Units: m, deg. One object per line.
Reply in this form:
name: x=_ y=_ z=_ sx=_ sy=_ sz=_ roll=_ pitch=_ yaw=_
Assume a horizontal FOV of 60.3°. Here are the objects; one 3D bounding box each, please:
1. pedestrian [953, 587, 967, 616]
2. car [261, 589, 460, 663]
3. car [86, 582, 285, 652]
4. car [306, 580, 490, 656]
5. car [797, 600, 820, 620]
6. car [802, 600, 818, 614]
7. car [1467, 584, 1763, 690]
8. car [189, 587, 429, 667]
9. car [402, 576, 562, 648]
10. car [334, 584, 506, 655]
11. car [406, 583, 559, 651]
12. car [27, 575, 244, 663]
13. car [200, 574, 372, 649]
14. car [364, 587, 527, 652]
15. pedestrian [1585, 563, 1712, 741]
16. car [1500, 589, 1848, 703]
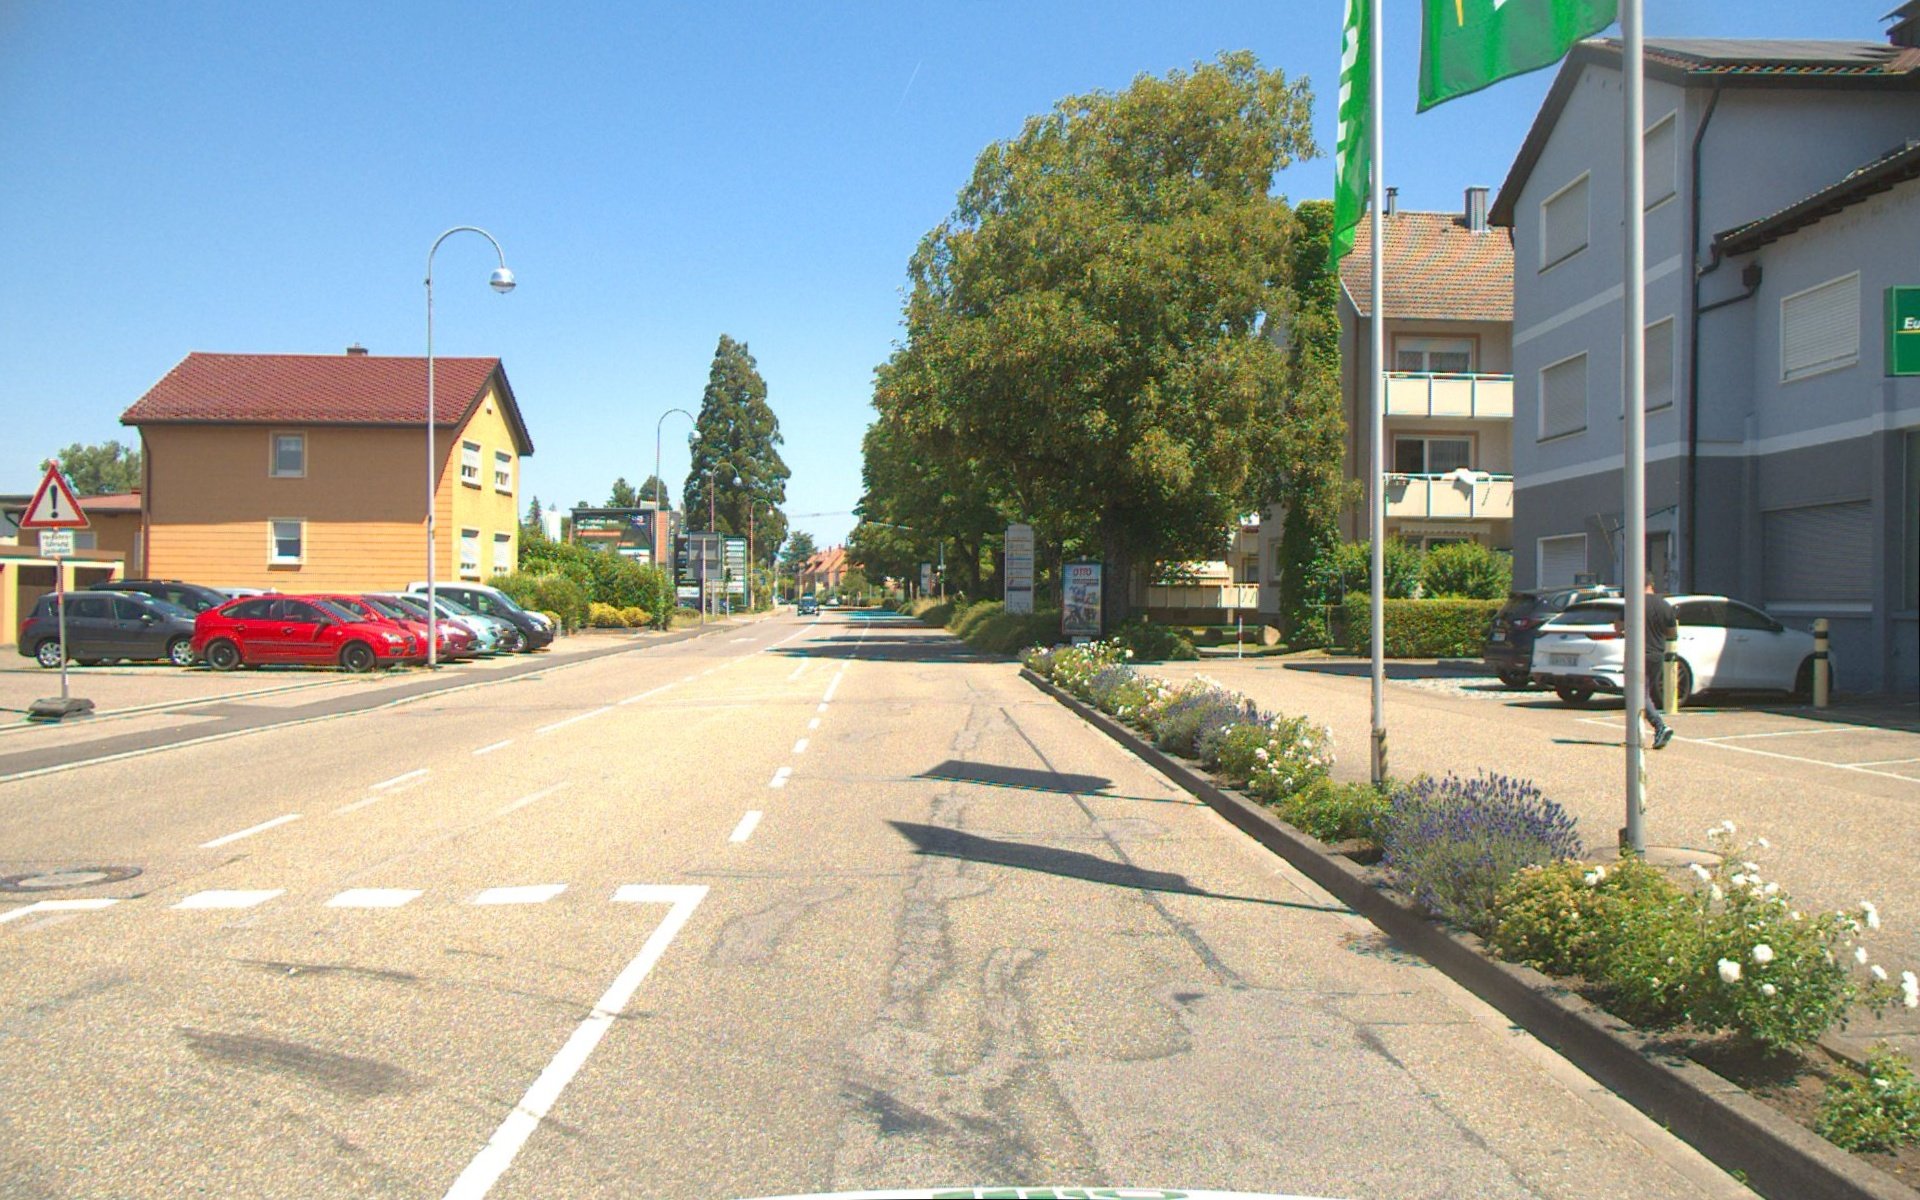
pedestrian: x=0.013 y=0.073 z=102.763 sx=0.602 sy=1.782 sz=0.560 roll=0 pitch=-1 yaw=32
car: x=-12.810 y=0.554 z=35.539 sx=3.592 sy=1.483 sz=1.890 roll=1 pitch=-1 yaw=-5
car: x=-17.475 y=0.391 z=37.444 sx=3.592 sy=1.483 sz=1.890 roll=1 pitch=-1 yaw=-5
car: x=-12.884 y=0.423 z=38.091 sx=3.592 sy=1.633 sz=1.880 roll=1 pitch=-1 yaw=-5
car: x=-12.242 y=0.792 z=134.082 sx=1.676 sy=1.521 sz=4.275 roll=1 pitch=0 yaw=-3
car: x=-19.120 y=0.842 z=211.006 sx=1.841 sy=1.748 sz=4.307 roll=1 pitch=0 yaw=-3
car: x=10.177 y=0.569 z=25.875 sx=3.907 sy=1.577 sz=1.797 roll=0 pitch=-1 yaw=-3
car: x=-12.972 y=0.544 z=33.156 sx=4.043 sy=1.469 sz=1.826 roll=1 pitch=-1 yaw=-3
car: x=-13.435 y=0.347 z=46.737 sx=4.016 sy=1.931 sz=1.997 roll=1 pitch=-1 yaw=-7
car: x=-13.086 y=0.482 z=40.270 sx=3.592 sy=1.609 sz=1.920 roll=1 pitch=-1 yaw=-5
car: x=-12.819 y=0.466 z=44.606 sx=3.592 sy=1.702 sz=1.920 roll=1 pitch=-1 yaw=-5
car: x=-17.324 y=0.415 z=34.908 sx=3.592 sy=1.739 sz=1.890 roll=1 pitch=-1 yaw=-5
car: x=-17.125 y=0.308 z=42.176 sx=3.592 sy=1.807 sz=1.920 roll=1 pitch=-1 yaw=-5
car: x=-13.124 y=0.513 z=42.380 sx=3.592 sy=1.558 sz=1.920 roll=1 pitch=-1 yaw=-5
pedestrian: x=6.702 y=0.500 z=16.156 sx=0.822 sy=1.670 sz=1.010 roll=-1 pitch=-1 yaw=2
car: x=9.535 y=0.623 z=22.068 sx=4.288 sy=1.395 sz=1.940 roll=2 pitch=-1 yaw=-25
